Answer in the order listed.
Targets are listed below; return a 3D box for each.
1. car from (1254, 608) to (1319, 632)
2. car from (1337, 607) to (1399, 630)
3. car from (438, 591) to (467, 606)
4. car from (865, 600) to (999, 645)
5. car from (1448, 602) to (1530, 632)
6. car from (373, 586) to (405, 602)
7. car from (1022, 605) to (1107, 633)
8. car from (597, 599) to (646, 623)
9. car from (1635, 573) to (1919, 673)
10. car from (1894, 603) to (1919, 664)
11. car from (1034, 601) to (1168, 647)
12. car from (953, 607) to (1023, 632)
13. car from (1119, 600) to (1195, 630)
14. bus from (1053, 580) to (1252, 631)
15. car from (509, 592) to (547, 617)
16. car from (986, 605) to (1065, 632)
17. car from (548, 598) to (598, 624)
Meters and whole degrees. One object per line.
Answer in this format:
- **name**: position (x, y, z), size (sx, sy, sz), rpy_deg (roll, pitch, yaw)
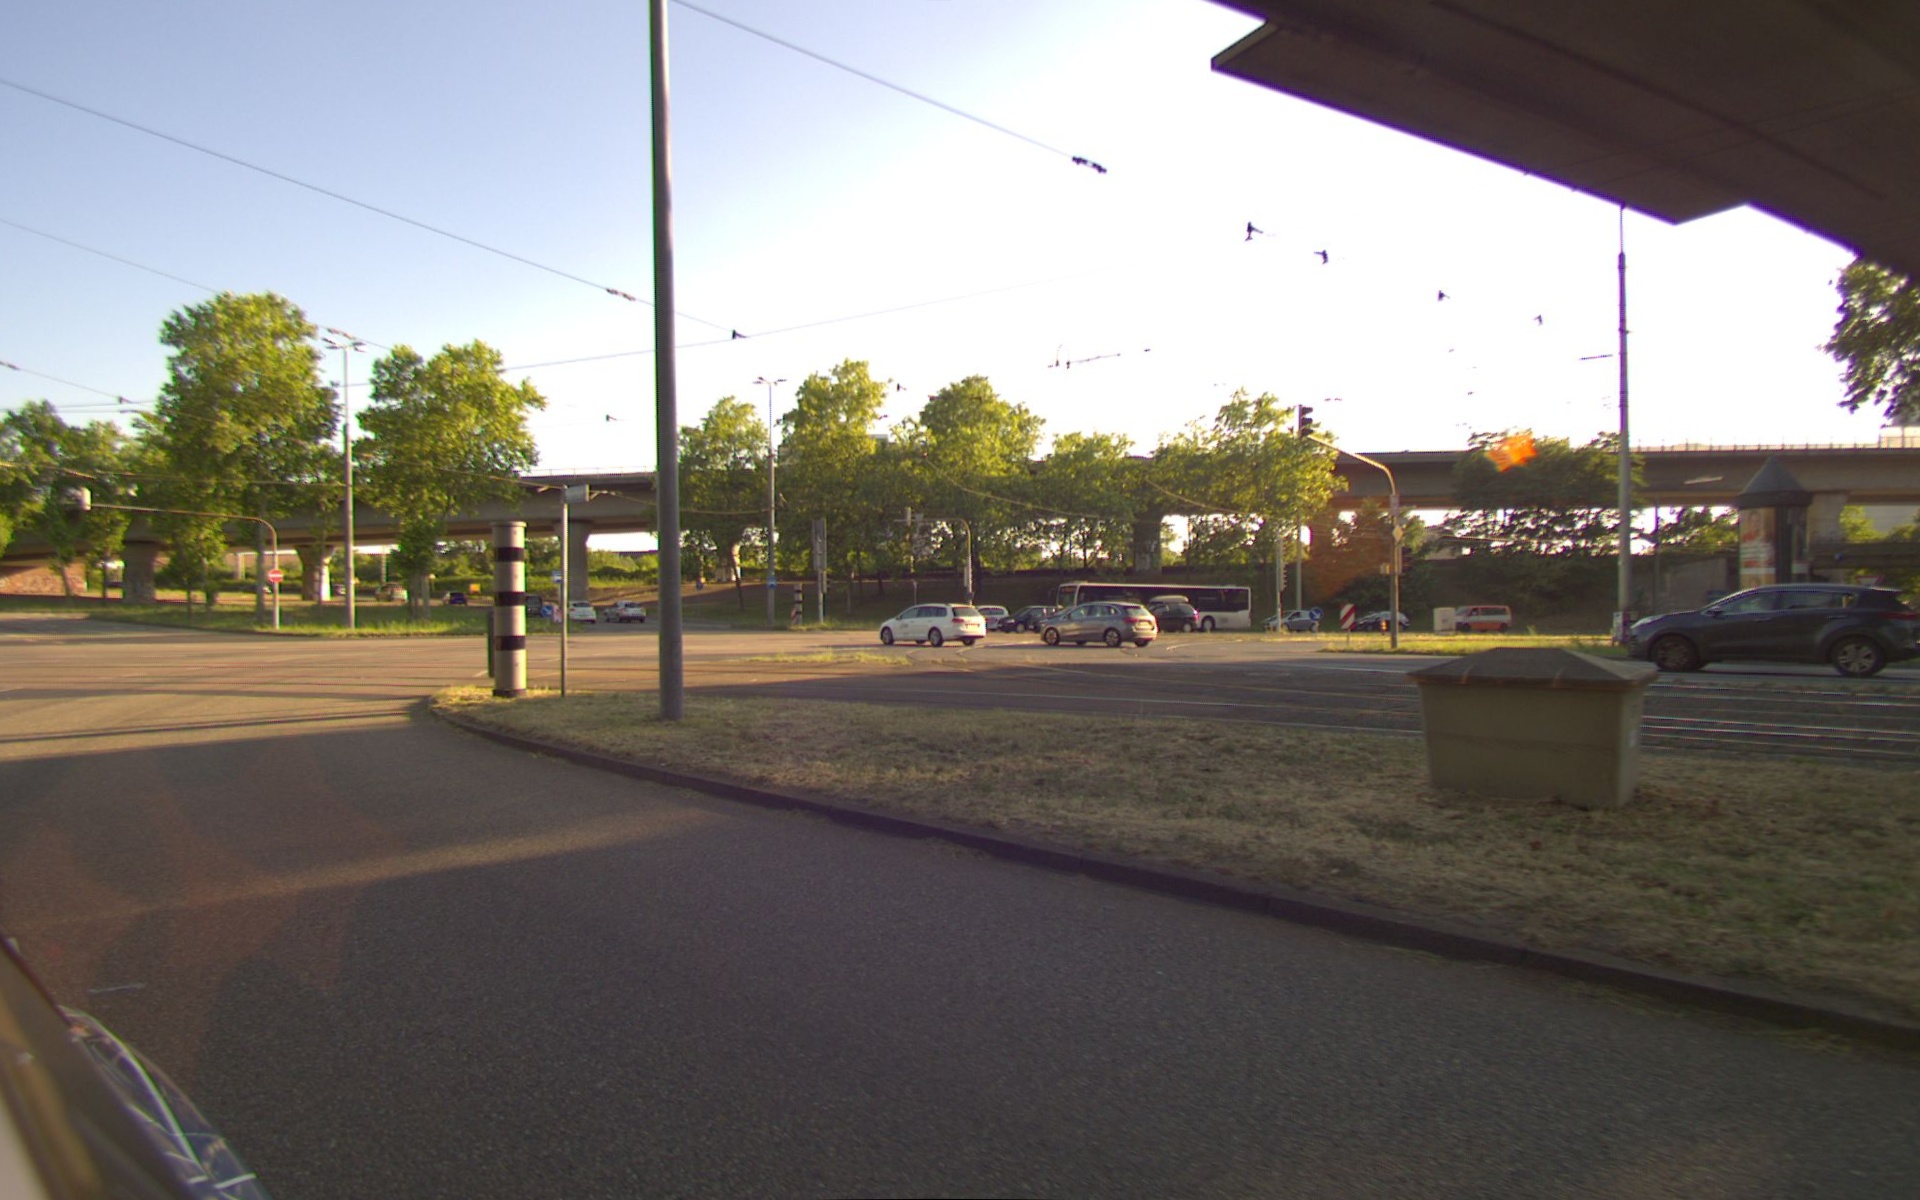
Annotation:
- **car**: position (21.425, 1.288, 66.350), size (3.930, 1.453, 1.711), rpy_deg (0, 0, -25)
- **car**: position (27.684, 1.240, 68.676), size (3.930, 1.453, 1.711), rpy_deg (0, 0, -25)
- **car**: position (-52.911, -0.158, 105.457), size (1.968, 1.570, 3.943), rpy_deg (0, 0, -38)
- **car**: position (-1.054, 0.764, 35.701), size (1.982, 1.454, 4.864), rpy_deg (-1, 0, -44)
- **car**: position (37.303, 1.183, 71.378), size (5.332, 2.029, 2.006), rpy_deg (-1, 0, -20)
- **car**: position (-68.136, -0.684, 120.760), size (4.706, 1.920, 1.971), rpy_deg (0, 0, 43)
- **car**: position (5.367, 0.979, 52.102), size (4.024, 1.364, 1.722), rpy_deg (0, 0, -25)
- **car**: position (-23.148, 0.735, 69.200), size (1.827, 1.621, 4.379), rpy_deg (0, 0, -38)
- **car**: position (15.217, 0.384, 18.644), size (4.359, 1.663, 1.770), rpy_deg (-1, 0, 45)
- **car**: position (27.419, 0.912, 26.445), size (1.769, 1.663, 4.361), rpy_deg (-1, 0, -4)
- **car**: position (4.812, 0.794, 35.001), size (4.255, 1.454, 1.983), rpy_deg (-1, 0, 45)
- **car**: position (1.612, 1.073, 57.763), size (3.670, 1.364, 1.615), rpy_deg (0, 0, -27)
- **car**: position (11.272, 0.830, 57.794), size (4.024, 1.665, 1.722), rpy_deg (0, 0, -25)
- **bus**: position (11.968, 0.285, 62.238), size (12.629, 2.976, 2.841), rpy_deg (0, 0, -23)
- **car**: position (-33.599, 0.315, 78.666), size (1.826, 1.881, 4.156), rpy_deg (0, 0, -35)
- **car**: position (3.537, 0.992, 54.547), size (3.931, 1.364, 1.615), rpy_deg (0, 0, -27)
- **car**: position (-25.477, 0.684, 66.561), size (1.827, 1.621, 4.316), rpy_deg (0, 0, -39)
